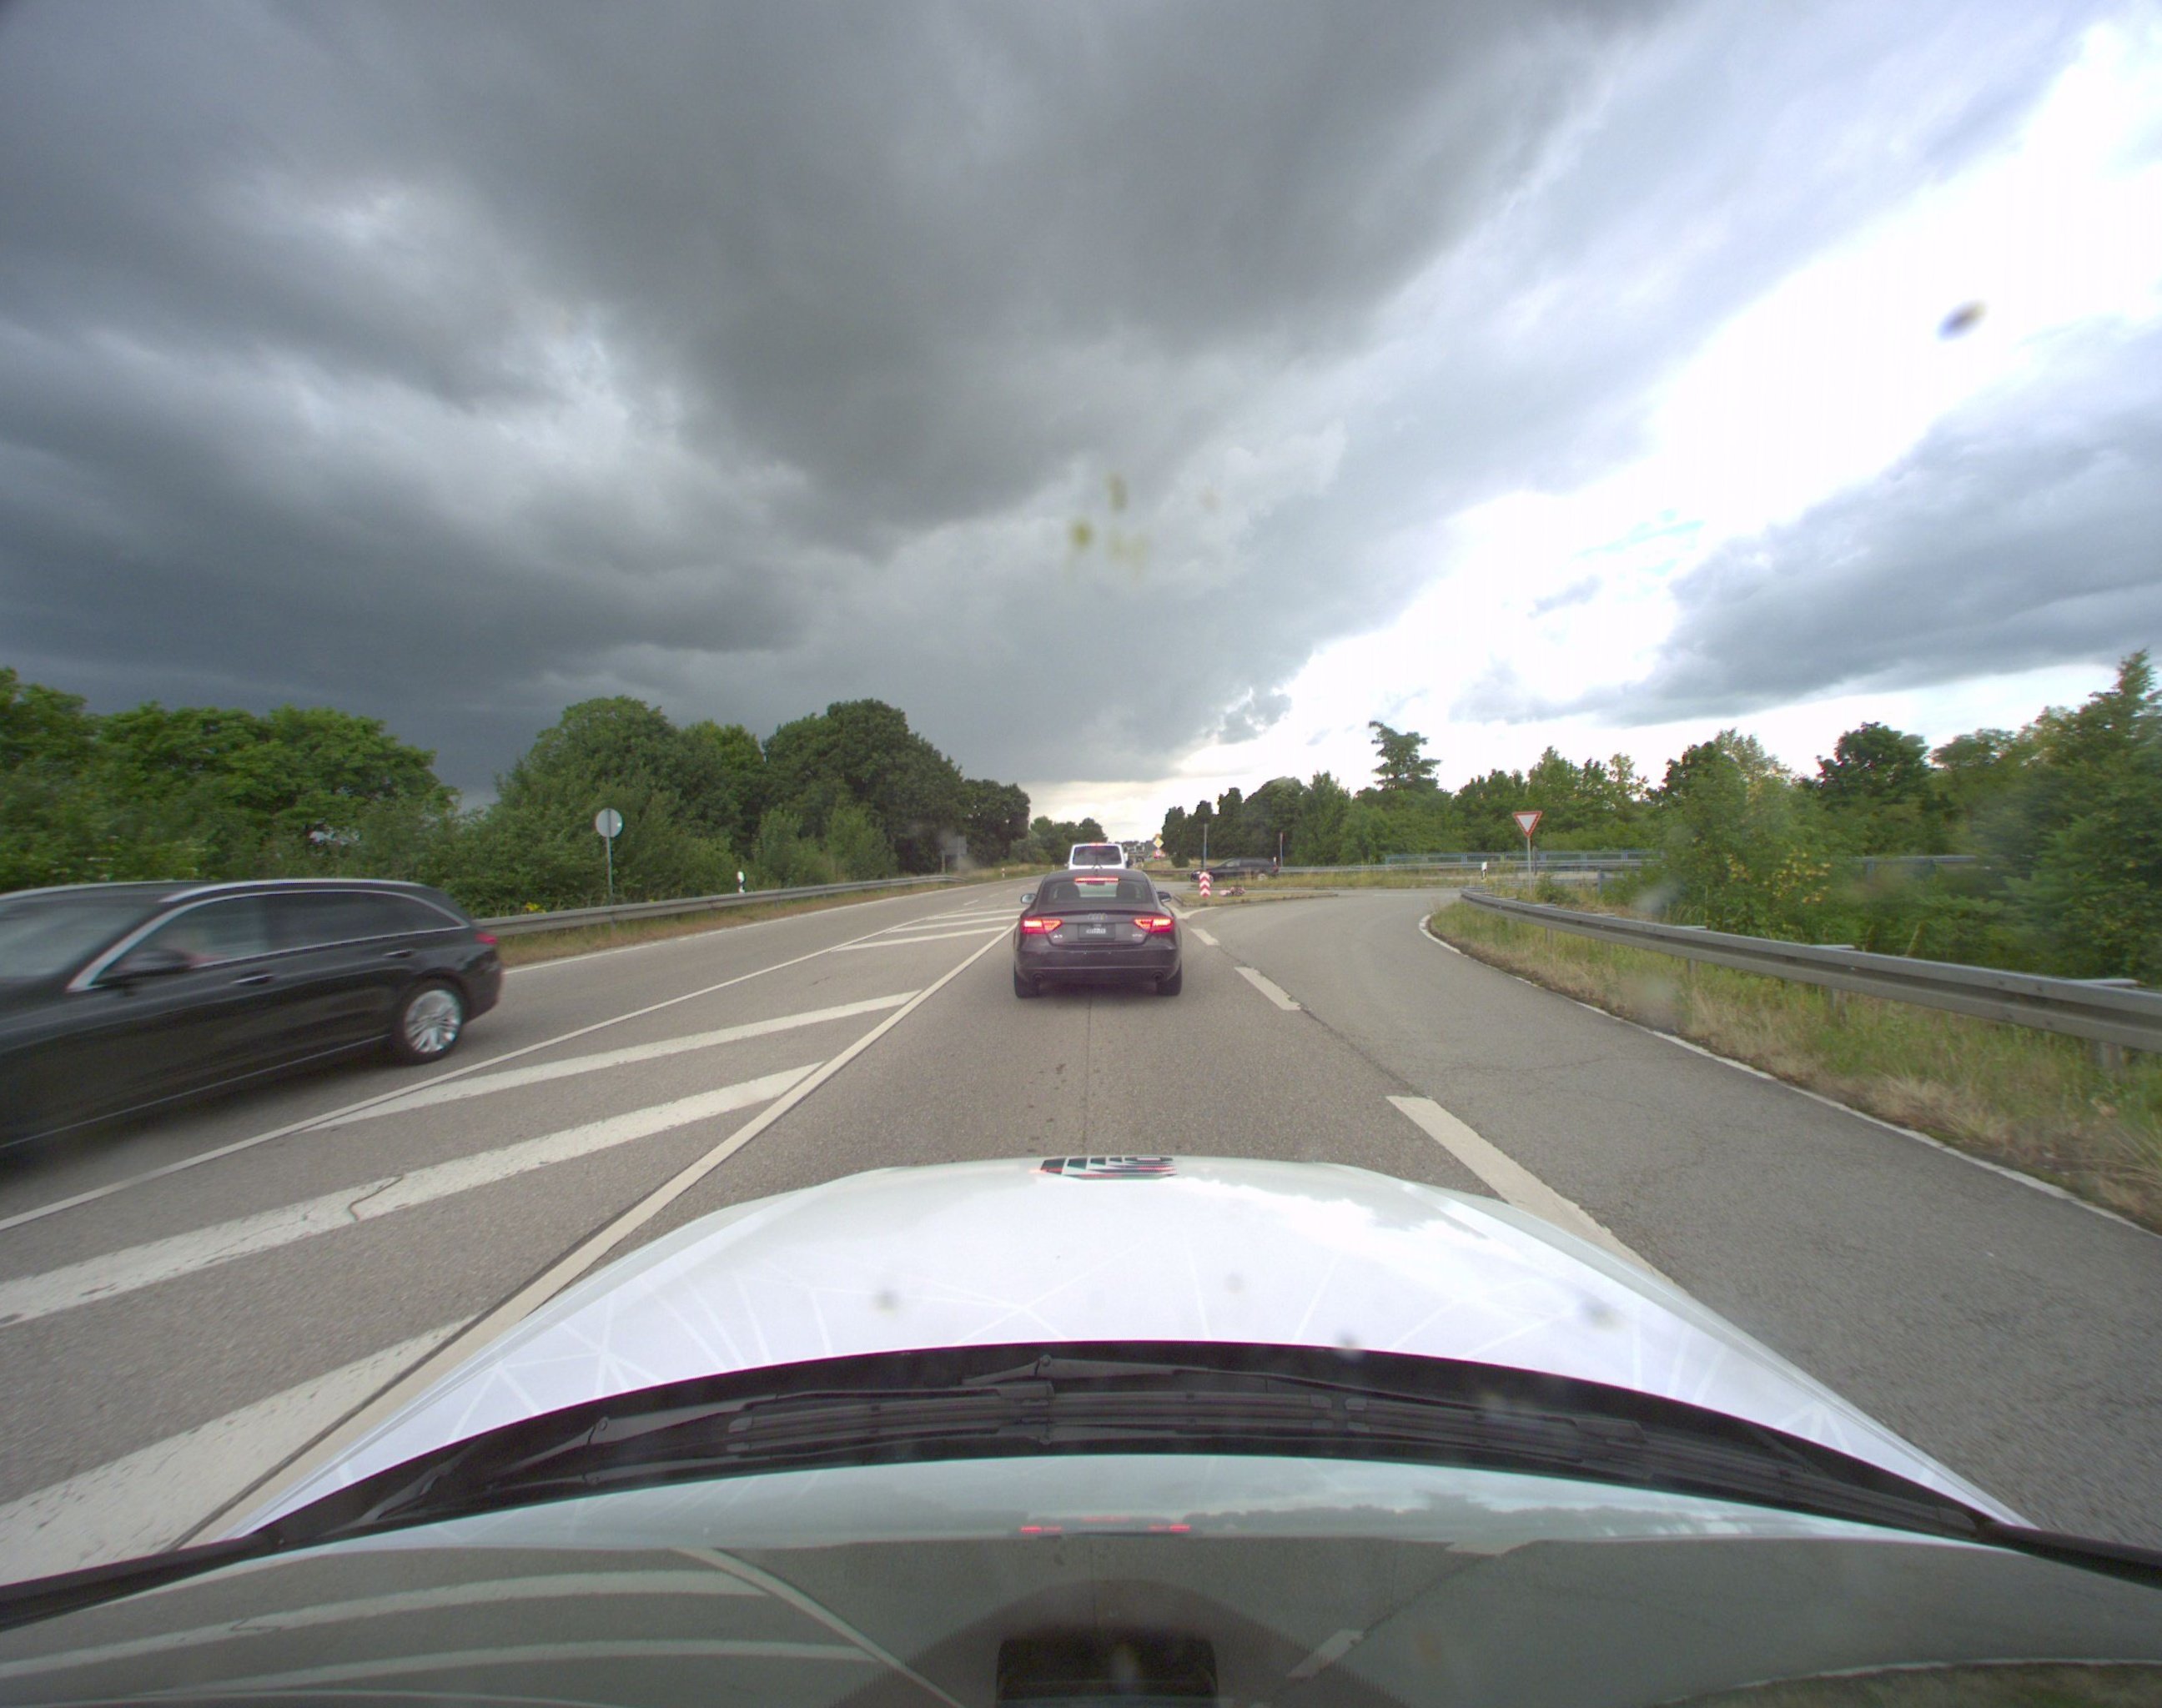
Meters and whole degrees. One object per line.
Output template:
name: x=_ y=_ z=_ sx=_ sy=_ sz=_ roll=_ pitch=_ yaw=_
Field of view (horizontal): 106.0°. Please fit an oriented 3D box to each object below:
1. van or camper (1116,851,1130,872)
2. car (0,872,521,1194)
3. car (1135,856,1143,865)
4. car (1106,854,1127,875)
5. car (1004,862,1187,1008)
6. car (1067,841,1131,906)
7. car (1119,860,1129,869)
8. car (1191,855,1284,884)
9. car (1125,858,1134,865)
van or camper: x=7.321 y=1.327 z=140.863 sx=2.330 sy=3.481 sz=5.724 roll=-1 pitch=-1 yaw=4
car: x=-5.854 y=0.888 z=5.096 sx=1.665 sy=1.429 sz=4.258 roll=-1 pitch=0 yaw=1
car: x=14.151 y=1.520 z=198.904 sx=1.986 sy=2.013 sz=4.001 roll=-1 pitch=0 yaw=1
car: x=3.719 y=1.099 z=84.812 sx=1.984 sy=2.088 sz=4.005 roll=-2 pitch=-1 yaw=5
car: x=0.205 y=0.814 z=9.991 sx=1.776 sy=1.376 sz=4.002 roll=-1 pitch=0 yaw=2
car: x=0.589 y=0.563 z=25.566 sx=1.832 sy=1.882 sz=4.002 roll=-1 pitch=0 yaw=2
car: x=6.605 y=1.590 z=124.907 sx=1.251 sy=1.353 sz=3.473 roll=-2 pitch=-1 yaw=8
car: x=8.205 y=0.816 z=42.995 sx=4.580 sy=1.374 sz=1.826 roll=-1 pitch=-1 yaw=0
car: x=10.137 y=1.566 z=170.376 sx=1.712 sy=1.451 sz=4.003 roll=-1 pitch=0 yaw=3
